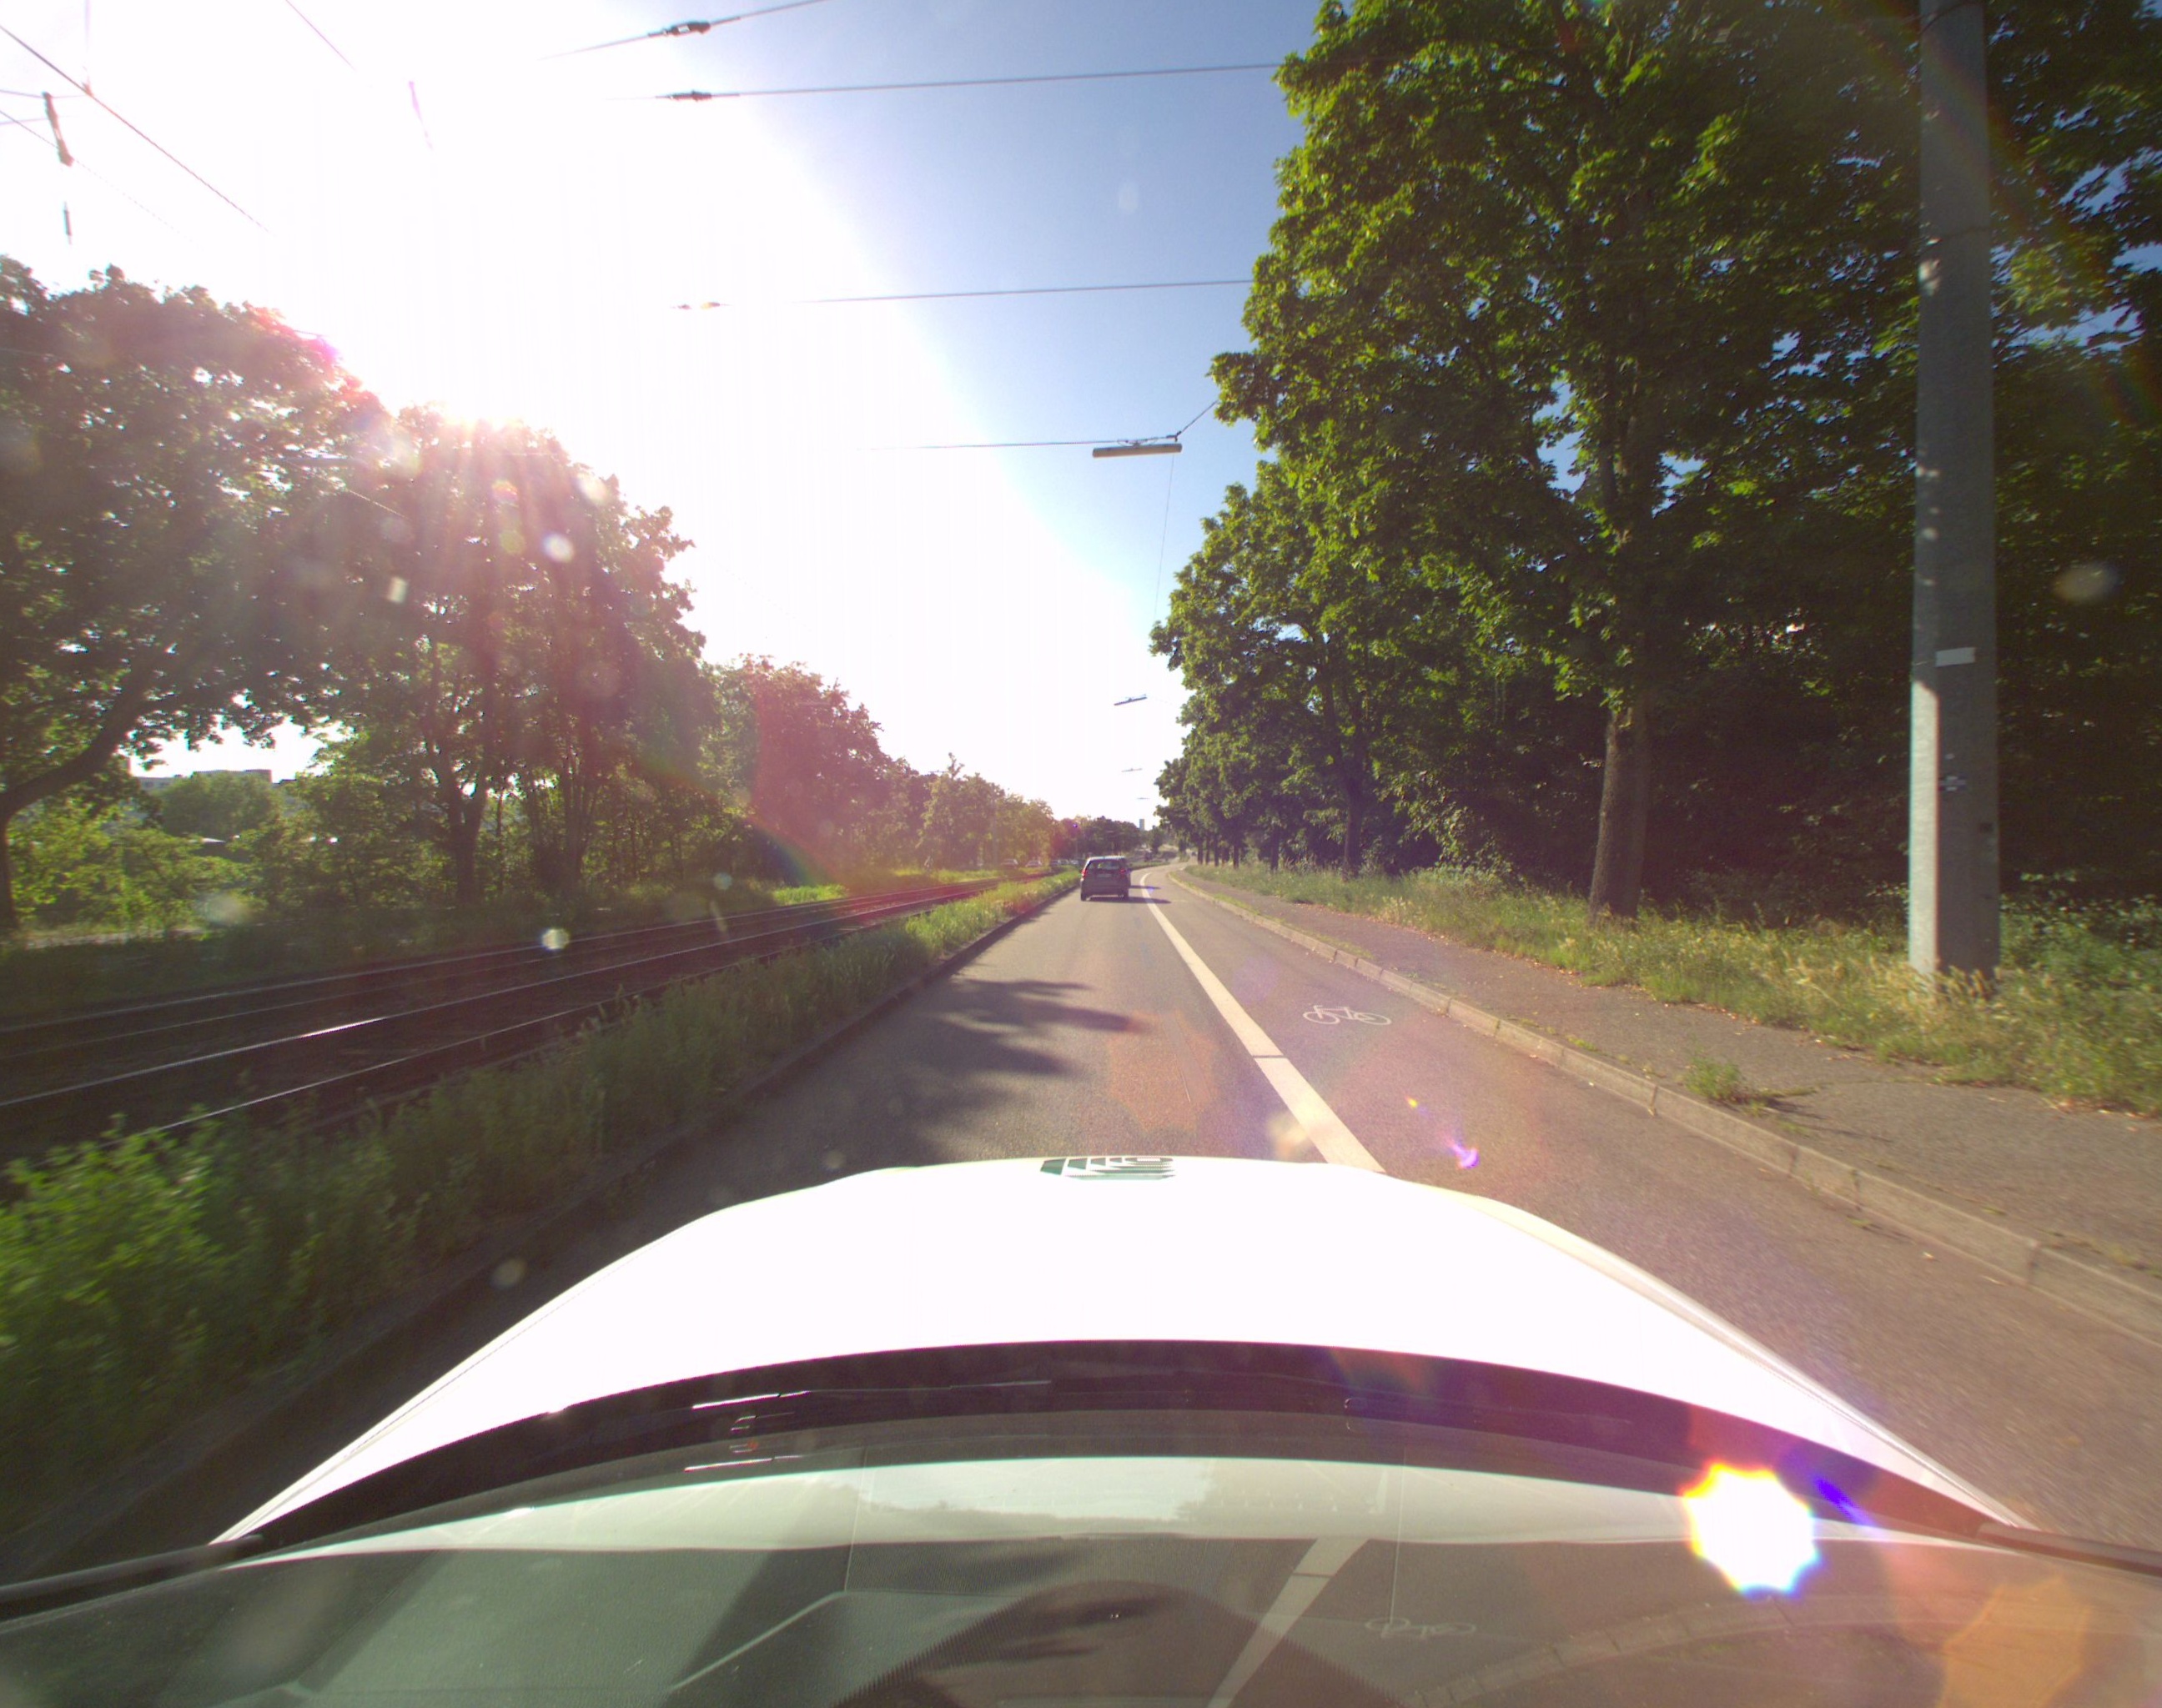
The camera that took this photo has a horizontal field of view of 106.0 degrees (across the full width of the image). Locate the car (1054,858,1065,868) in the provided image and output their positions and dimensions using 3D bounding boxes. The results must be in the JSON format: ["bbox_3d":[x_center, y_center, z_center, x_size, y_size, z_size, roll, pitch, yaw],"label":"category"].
[{"bbox_3d":[-3.745,1.564,141.875,1.616,1.551,4.005,0,2,4],"label":"car"}]

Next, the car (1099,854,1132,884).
[{"bbox_3d":[1.769,0.763,42.788,1.648,1.508,3.812,0,-1,2],"label":"car"}]

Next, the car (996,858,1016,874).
[{"bbox_3d":[-9.950,1.611,108.103,1.985,1.875,4.005,0,2,4],"label":"car"}]

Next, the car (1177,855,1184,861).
[{"bbox_3d":[27.732,1.063,227.338,1.643,1.313,3.826,1,3,14],"label":"car"}]

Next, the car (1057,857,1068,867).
[{"bbox_3d":[-3.363,1.407,148.063,1.693,1.683,4.005,0,2,4],"label":"car"}]

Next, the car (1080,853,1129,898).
[{"bbox_3d":[0.848,0.790,29.449,1.664,1.508,3.811,0,-2,2],"label":"car"}]

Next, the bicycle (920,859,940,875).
[{"bbox_3d":[-12.398,1.050,66.965,0.785,1.195,3.173,0,2,4],"label":"bicycle"}]

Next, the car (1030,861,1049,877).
[{"bbox_3d":[-5.133,1.853,101.257,1.985,1.716,4.005,0,2,4],"label":"car"}]

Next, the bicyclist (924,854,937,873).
[{"bbox_3d":[-12.379,0.766,67.002,0.786,1.489,1.110,0,2,4],"label":"bicyclist"}]
